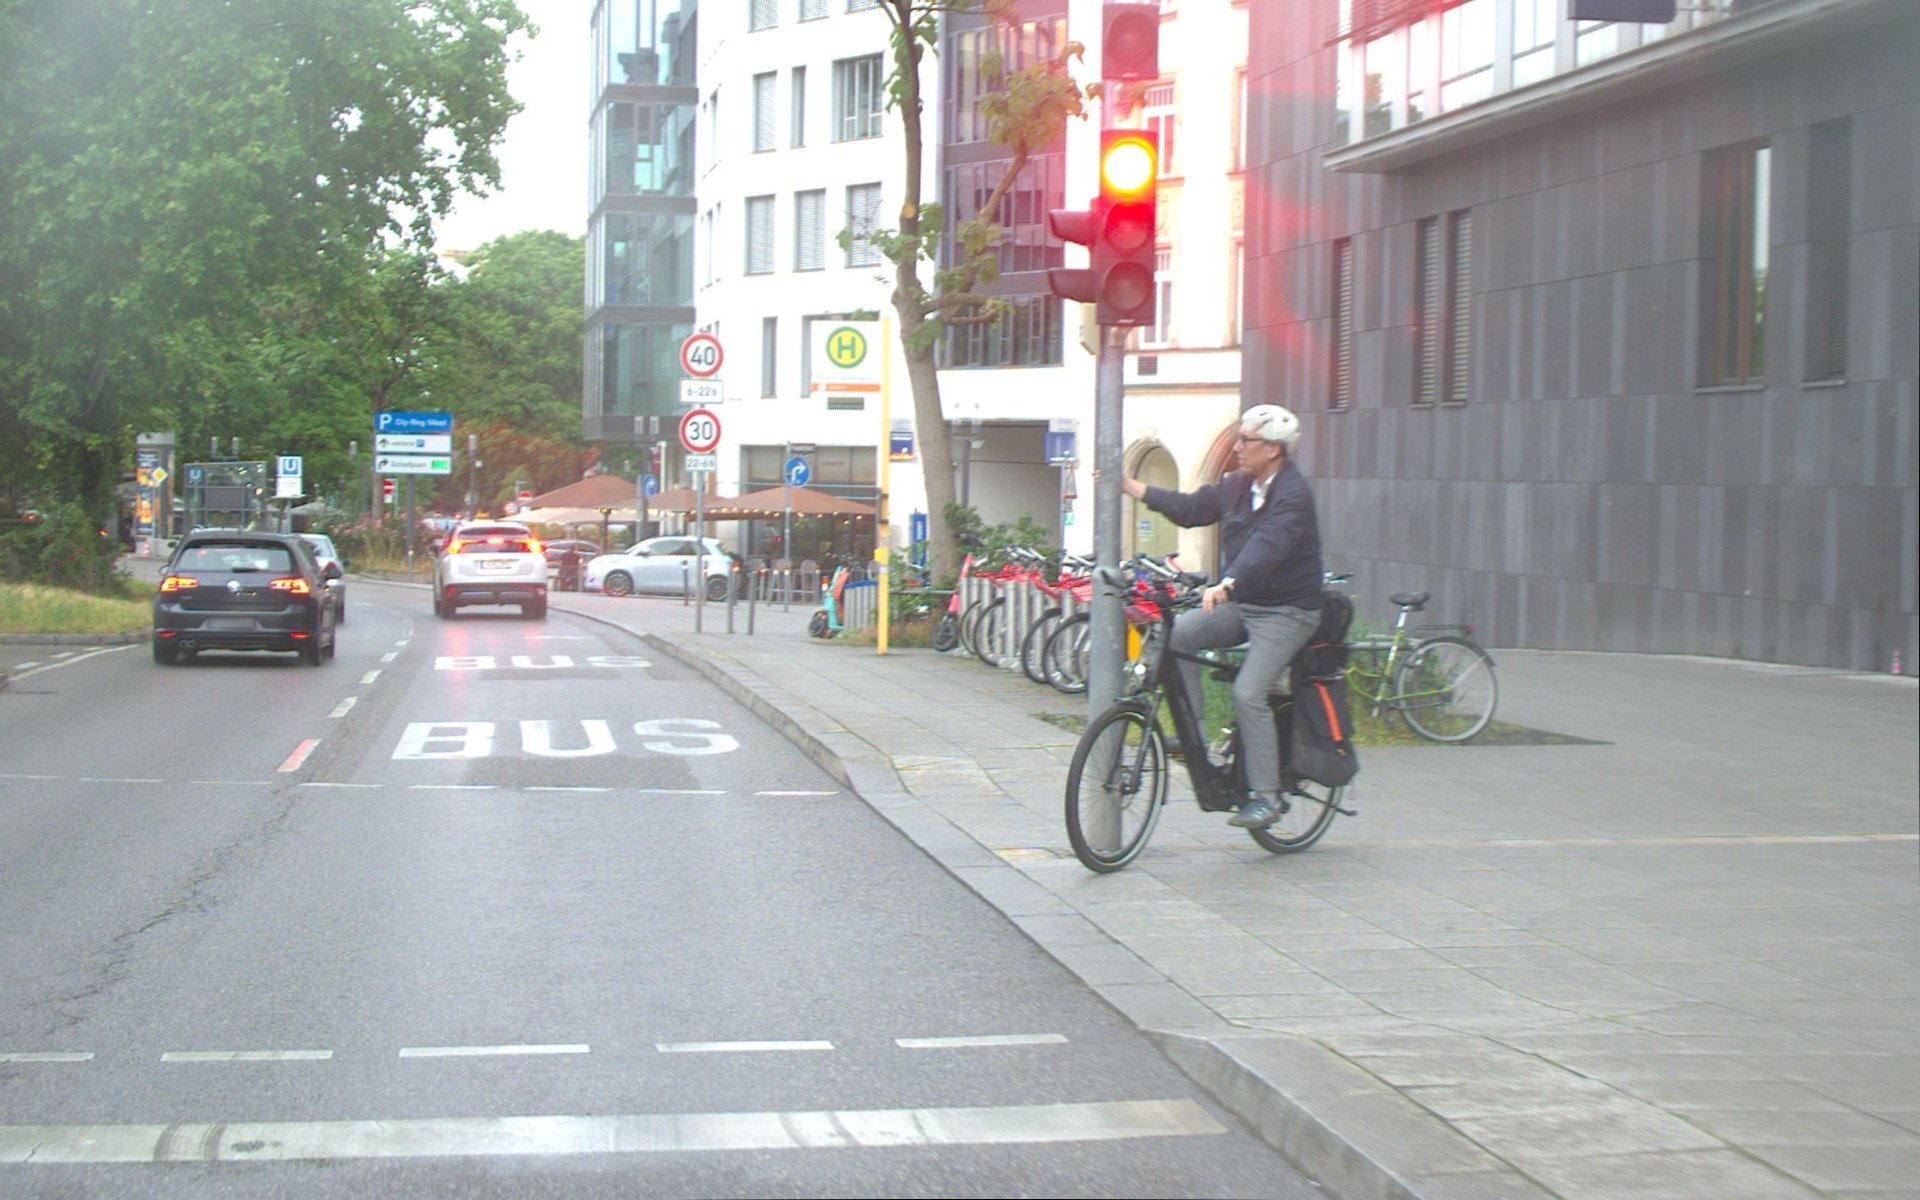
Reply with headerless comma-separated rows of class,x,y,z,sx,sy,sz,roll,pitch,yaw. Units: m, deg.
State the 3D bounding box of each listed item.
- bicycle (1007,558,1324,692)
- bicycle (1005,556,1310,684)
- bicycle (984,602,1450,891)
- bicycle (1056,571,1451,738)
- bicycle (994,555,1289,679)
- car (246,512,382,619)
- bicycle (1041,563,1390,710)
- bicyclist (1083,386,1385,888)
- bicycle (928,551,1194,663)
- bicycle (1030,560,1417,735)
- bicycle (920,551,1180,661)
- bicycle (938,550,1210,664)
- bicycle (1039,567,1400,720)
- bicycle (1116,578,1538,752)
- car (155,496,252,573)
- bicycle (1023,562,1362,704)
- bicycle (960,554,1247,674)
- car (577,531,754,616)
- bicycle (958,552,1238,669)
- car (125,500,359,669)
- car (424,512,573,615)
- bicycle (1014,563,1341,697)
bicycle,1.699,0.204,28.512,2.535,1.083,0.678,0,1,-8
bicycle,1.700,0.167,29.711,2.535,1.083,0.678,0,1,-8
bicycle,1.138,0.590,14.831,2.127,1.141,0.762,0,1,-43
bicycle,1.957,0.363,23.048,2.535,1.083,0.678,0,1,-8
bicycle,1.614,0.146,30.686,2.535,1.083,0.678,0,1,-8
car,-10.499,-0.595,56.098,1.945,1.641,4.246,1,1,-8
bicycle,1.918,0.273,25.935,2.535,1.083,0.678,0,1,-8
bicyclist,1.187,0.146,14.868,1.082,2.076,0.762,0,1,-43
bicycle,0.992,0.063,33.880,2.535,1.083,0.678,0,1,-8
bicycle,1.819,0.329,23.844,2.535,1.083,0.678,3,1,-9
bicycle,0.901,0.058,34.597,2.535,1.083,0.627,0,1,-8
bicycle,1.096,0.066,33.137,2.535,1.083,0.678,0,1,-8
bicycle,1.884,0.308,25.077,2.535,1.083,0.678,0,1,-8
bicycle,2.296,0.404,21.590,2.535,1.053,0.678,0,1,-8
car,-17.097,-1.487,77.577,1.944,1.641,4.001,1,1,-15
bicycle,1.799,0.252,26.739,2.535,1.083,0.678,0,1,-8
bicycle,1.310,0.126,31.507,2.535,1.083,0.678,0,1,-8
car,-6.972,-0.632,81.212,3.986,1.641,2.001,5,1,-7
bicycle,1.288,0.096,32.259,2.535,1.083,0.678,0,1,-8
car,-7.794,-0.210,37.691,2.161,1.700,4.555,1,1,-8
car,-8.055,-0.662,59.755,2.178,1.695,4.001,1,1,-13
bicycle,1.739,0.237,27.604,2.535,1.056,0.678,0,1,-8
